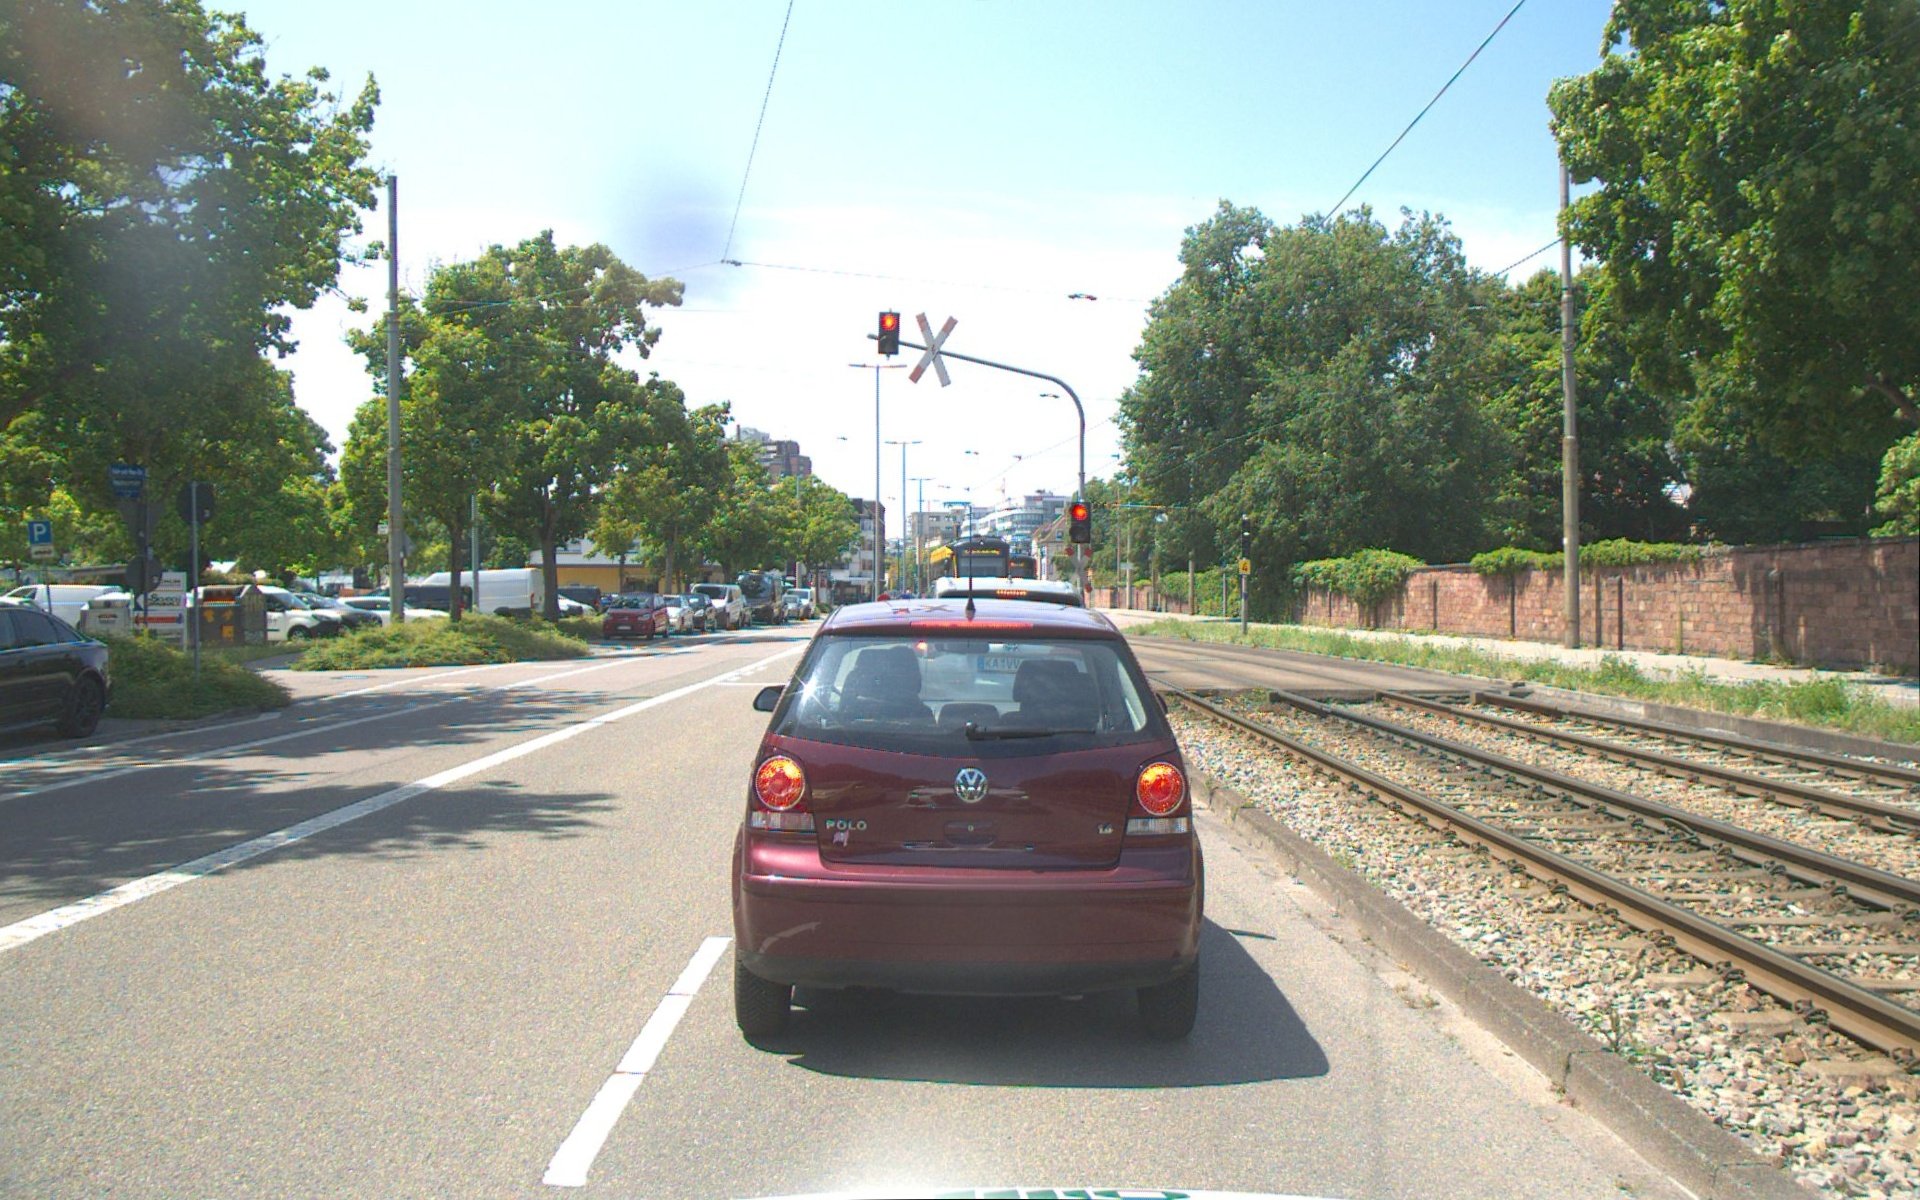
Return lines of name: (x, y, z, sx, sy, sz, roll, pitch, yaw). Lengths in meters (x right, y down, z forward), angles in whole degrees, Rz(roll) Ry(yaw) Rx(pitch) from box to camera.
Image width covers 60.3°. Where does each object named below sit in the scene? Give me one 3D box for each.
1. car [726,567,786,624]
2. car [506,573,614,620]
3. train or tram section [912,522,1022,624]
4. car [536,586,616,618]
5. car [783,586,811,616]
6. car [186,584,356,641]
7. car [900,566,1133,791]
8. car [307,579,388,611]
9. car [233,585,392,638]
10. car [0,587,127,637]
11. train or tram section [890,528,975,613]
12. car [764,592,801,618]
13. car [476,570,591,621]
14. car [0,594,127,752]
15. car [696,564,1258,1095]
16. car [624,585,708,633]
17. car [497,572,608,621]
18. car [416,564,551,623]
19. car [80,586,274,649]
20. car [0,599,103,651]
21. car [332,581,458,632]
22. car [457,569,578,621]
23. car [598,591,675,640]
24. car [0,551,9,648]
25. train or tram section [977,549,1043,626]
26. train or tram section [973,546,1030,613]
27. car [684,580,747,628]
car: (-10.314, -0.189, 84.084, 2.313, 2.739, 5.307, 2, -1, 0)
car: (-21.039, -0.162, 87.152, 4.993, 2.283, 2.378, 2, -1, 0)
train or tram section: (0.065, -1.071, 67.193, 2.689, 3.672, 12.849, 2, 0, -7)
car: (-21.204, 0.121, 91.428, 3.938, 1.645, 1.816, 2, -1, 0)
car: (-10.600, 0.067, 107.361, 1.741, 1.860, 3.995, 2, -1, -6)
car: (-20.468, 0.360, 49.236, 4.251, 1.612, 1.914, 0, 0, 5)
car: (0.383, 0.587, 14.654, 1.741, 1.676, 3.999, 2, 0, -2)
car: (-35.334, -0.280, 95.455, 3.939, 1.645, 1.816, 2, -1, -2)
car: (-20.376, 0.341, 52.167, 4.251, 1.612, 1.914, 0, 0, 5)
car: (-32.841, 0.438, 60.374, 3.913, 1.682, 1.812, 2, -1, -9)
train or tram section: (-1.436, -1.357, 78.437, 2.689, 3.672, 10.932, 2, 0, -7)
car: (-10.817, 0.327, 101.151, 1.581, 1.466, 4.001, 2, -1, 3)
car: (-21.079, -0.205, 81.957, 4.993, 2.283, 2.378, 2, -1, 0)
car: (-10.308, 0.717, 16.500, 1.782, 1.502, 4.448, 2, 0, -1)
car: (0.005, 0.674, 6.936, 1.638, 1.548, 3.999, 2, 0, -2)
car: (-10.745, 0.343, 60.794, 1.934, 1.629, 4.560, 2, -1, 4)
car: (-20.778, -0.175, 84.432, 4.993, 2.283, 2.378, 2, -1, 0)
car: (-20.318, -0.263, 70.669, 4.993, 2.283, 2.378, 2, -1, 0)
car: (-20.940, 0.462, 44.349, 4.256, 1.612, 1.912, -1, 0, -3)
car: (-32.479, 0.863, 57.965, 3.913, 1.682, 1.812, 2, -1, -9)
car: (-20.518, 0.223, 60.198, 3.906, 1.776, 1.998, -1, 0, -2)
car: (-21.024, -0.229, 78.771, 4.993, 2.283, 2.378, 2, -1, 0)
car: (-10.550, 0.507, 54.247, 1.628, 1.523, 4.000, 2, -1, 1)
car: (-33.111, -0.147, 50.407, 6.714, 3.017, 2.363, 2, -1, -2)
train or tram section: (2.615, -0.686, 90.087, 2.967, 3.864, 13.087, 0, 0, -1)
train or tram section: (2.477, -1.225, 102.974, 2.967, 3.864, 13.087, 0, 0, -1)
car: (-10.457, 0.195, 71.038, 1.746, 1.914, 4.787, 2, -1, 2)
